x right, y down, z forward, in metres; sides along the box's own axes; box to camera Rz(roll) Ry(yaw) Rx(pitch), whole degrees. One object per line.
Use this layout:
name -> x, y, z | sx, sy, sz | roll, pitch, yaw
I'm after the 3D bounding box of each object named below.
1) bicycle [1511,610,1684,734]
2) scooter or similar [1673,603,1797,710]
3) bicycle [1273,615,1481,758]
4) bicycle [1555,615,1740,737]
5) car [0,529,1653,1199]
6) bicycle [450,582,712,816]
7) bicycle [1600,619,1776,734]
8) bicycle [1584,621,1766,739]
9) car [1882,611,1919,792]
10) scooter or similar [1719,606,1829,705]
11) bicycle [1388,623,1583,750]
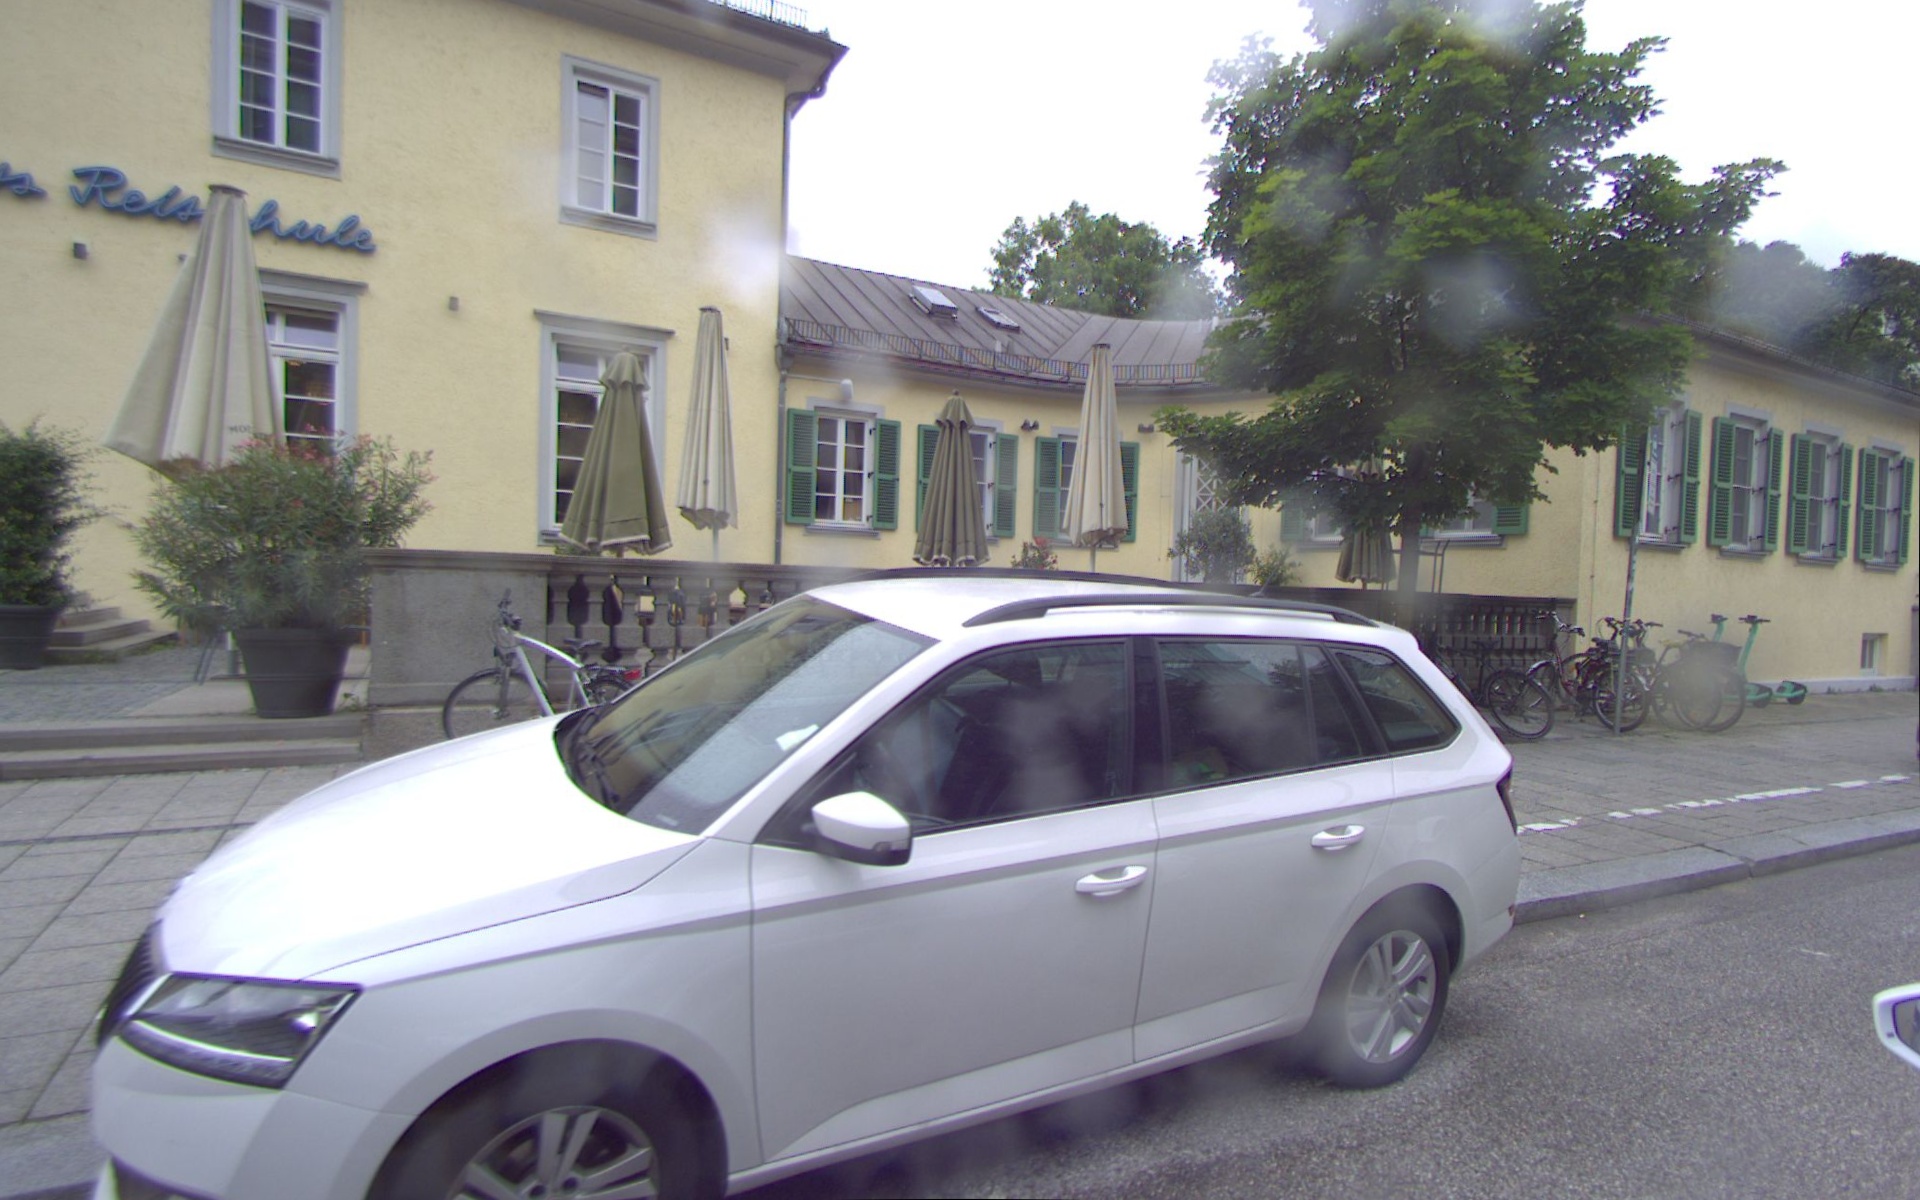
bicycle -> 6.901, 0.739, 10.971 | 0.459, 1.189, 1.626 | 1, 2, -19
scooter or similar -> 10.341, 0.742, 13.416 | 1.326, 1.361, 0.376 | 2, 1, -1
bicycle -> 3.640, 0.716, 8.848 | 1.602, 1.103, 0.637 | 2, 2, 23
bicycle -> 7.579, 0.797, 11.170 | 0.348, 1.187, 1.694 | 1, 1, -28
car -> -0.017, 0.660, 3.150 | 4.405, 1.512, 1.717 | 1, 2, -28
bicycle -> -2.342, 0.550, 6.190 | 1.538, 1.279, 0.571 | 2, 2, 23
bicycle -> 8.372, 0.844, 11.621 | 0.633, 1.164, 1.486 | 1, 2, -25
bicycle -> 7.953, 0.847, 11.253 | 0.382, 1.152, 1.621 | 1, 1, -28
car -> 10.592, 0.968, 9.150 | 4.600, 1.539, 1.887 | 1, 3, -30
scooter or similar -> 11.417, 0.778, 14.094 | 1.229, 1.332, 0.364 | 2, 1, -3
bicycle -> 5.207, 0.811, 10.082 | 0.635, 1.042, 1.721 | 1, 3, -20
